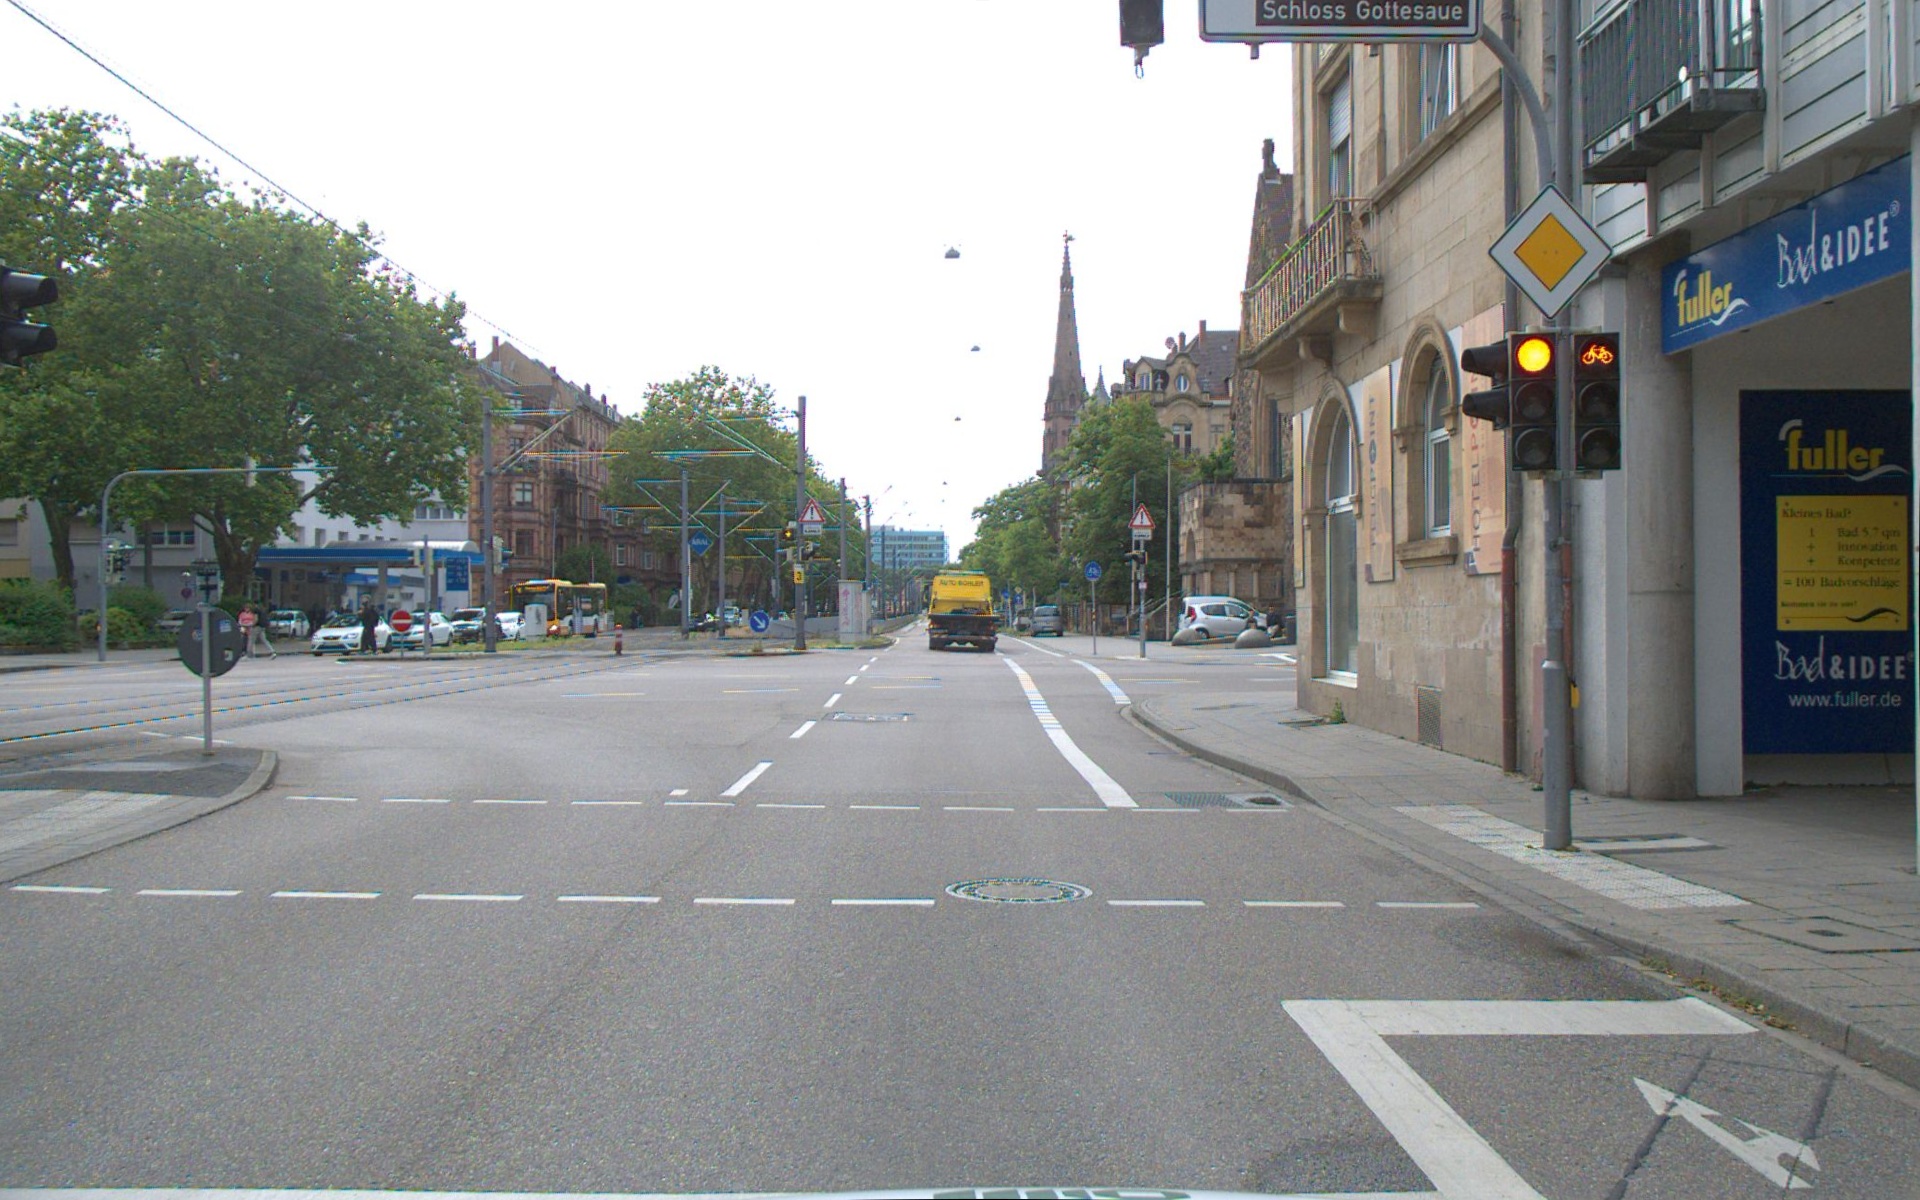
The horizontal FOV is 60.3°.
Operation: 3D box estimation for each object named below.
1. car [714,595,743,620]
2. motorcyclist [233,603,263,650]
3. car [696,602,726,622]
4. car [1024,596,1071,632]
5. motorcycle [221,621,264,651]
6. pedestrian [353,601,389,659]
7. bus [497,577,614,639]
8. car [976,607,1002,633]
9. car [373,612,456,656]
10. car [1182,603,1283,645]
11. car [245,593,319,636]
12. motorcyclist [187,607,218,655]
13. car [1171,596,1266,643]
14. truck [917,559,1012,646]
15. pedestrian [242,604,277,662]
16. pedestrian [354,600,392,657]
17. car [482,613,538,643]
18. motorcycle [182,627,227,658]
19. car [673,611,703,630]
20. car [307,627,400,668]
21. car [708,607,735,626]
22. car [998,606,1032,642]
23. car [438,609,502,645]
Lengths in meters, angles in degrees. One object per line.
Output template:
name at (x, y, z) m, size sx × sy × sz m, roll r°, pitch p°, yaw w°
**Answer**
car at (-19.771, 0.669, 141.191) m, size 1.953 × 2.049 × 3.999 m, roll 1°, pitch 0°, yaw -1°
motorcyclist at (-23.664, 0.872, 55.000) m, size 0.607 × 1.546 × 0.873 m, roll 0°, pitch 0°, yaw -1°
car at (-21.226, 1.044, 141.174) m, size 1.953 × 1.639 × 3.999 m, roll 1°, pitch 0°, yaw -1°
car at (4.811, 0.781, 90.039) m, size 1.951 × 1.888 × 4.030 m, roll 1°, pitch 0°, yaw 12°
motorcycle at (-23.695, 1.182, 54.665) m, size 0.594 × 0.945 × 1.951 m, roll 0°, pitch 0°, yaw 0°
pedestrian at (-18.058, 0.912, 50.693) m, size 0.849 × 1.743 × 0.691 m, roll 0°, pitch 0°, yaw 3°
bus at (-21.940, 0.443, 90.625) m, size 3.164 × 3.088 × 12.312 m, roll 1°, pitch 0°, yaw 1°
car at (2.371, 1.642, 136.195) m, size 1.953 × 2.049 × 3.999 m, roll 1°, pitch 0°, yaw -1°
car at (-21.427, 1.302, 65.120) m, size 1.953 × 1.622 × 3.999 m, roll 1°, pitch 0°, yaw -1°
car at (10.695, 0.933, 65.089) m, size 3.638 × 1.591 × 2.000 m, roll 1°, pitch 0°, yaw -1°
car at (-32.886, 0.703, 80.342) m, size 1.953 × 2.049 × 3.999 m, roll 0°, pitch 0°, yaw -1°
motorcyclist at (-24.682, 1.008, 53.900) m, size 0.607 × 1.546 × 0.873 m, roll 0°, pitch 0°, yaw -1°
car at (10.687, 0.802, 68.549) m, size 3.638 × 1.888 × 2.000 m, roll 1°, pitch 0°, yaw -1°
truck at (0.029, 0.093, 59.195) m, size 2.994 × 2.817 × 9.811 m, roll 0°, pitch 0°, yaw -2°
pedestrian at (-20.932, 0.980, 49.429) m, size 0.669 × 1.720 × 0.742 m, roll 1°, pitch -1°, yaw 4°
pedestrian at (-18.246, 0.877, 51.423) m, size 0.853 × 1.743 × 0.876 m, roll 0°, pitch 0°, yaw 1°
car at (-21.384, 1.300, 78.692) m, size 1.622 × 1.344 × 3.638 m, roll 1°, pitch 0°, yaw 1°
motorcycle at (-24.684, 1.384, 54.070) m, size 0.594 × 0.945 × 1.951 m, roll 0°, pitch 0°, yaw 0°
car at (-20.353, 1.534, 123.912) m, size 1.622 × 1.344 × 3.638 m, roll 1°, pitch 0°, yaw 1°
car at (-21.445, 1.652, 58.605) m, size 1.711 × 1.344 × 4.075 m, roll 1°, pitch 0°, yaw 1°
car at (-21.451, 1.467, 148.927) m, size 1.953 × 1.639 × 3.999 m, roll 1°, pitch 0°, yaw -1°
car at (3.285, 1.431, 99.667) m, size 1.952 × 2.049 × 4.000 m, roll 1°, pitch 0°, yaw 1°
car at (-21.227, 1.154, 71.774) m, size 1.622 × 1.504 × 3.638 m, roll 1°, pitch 0°, yaw 1°
